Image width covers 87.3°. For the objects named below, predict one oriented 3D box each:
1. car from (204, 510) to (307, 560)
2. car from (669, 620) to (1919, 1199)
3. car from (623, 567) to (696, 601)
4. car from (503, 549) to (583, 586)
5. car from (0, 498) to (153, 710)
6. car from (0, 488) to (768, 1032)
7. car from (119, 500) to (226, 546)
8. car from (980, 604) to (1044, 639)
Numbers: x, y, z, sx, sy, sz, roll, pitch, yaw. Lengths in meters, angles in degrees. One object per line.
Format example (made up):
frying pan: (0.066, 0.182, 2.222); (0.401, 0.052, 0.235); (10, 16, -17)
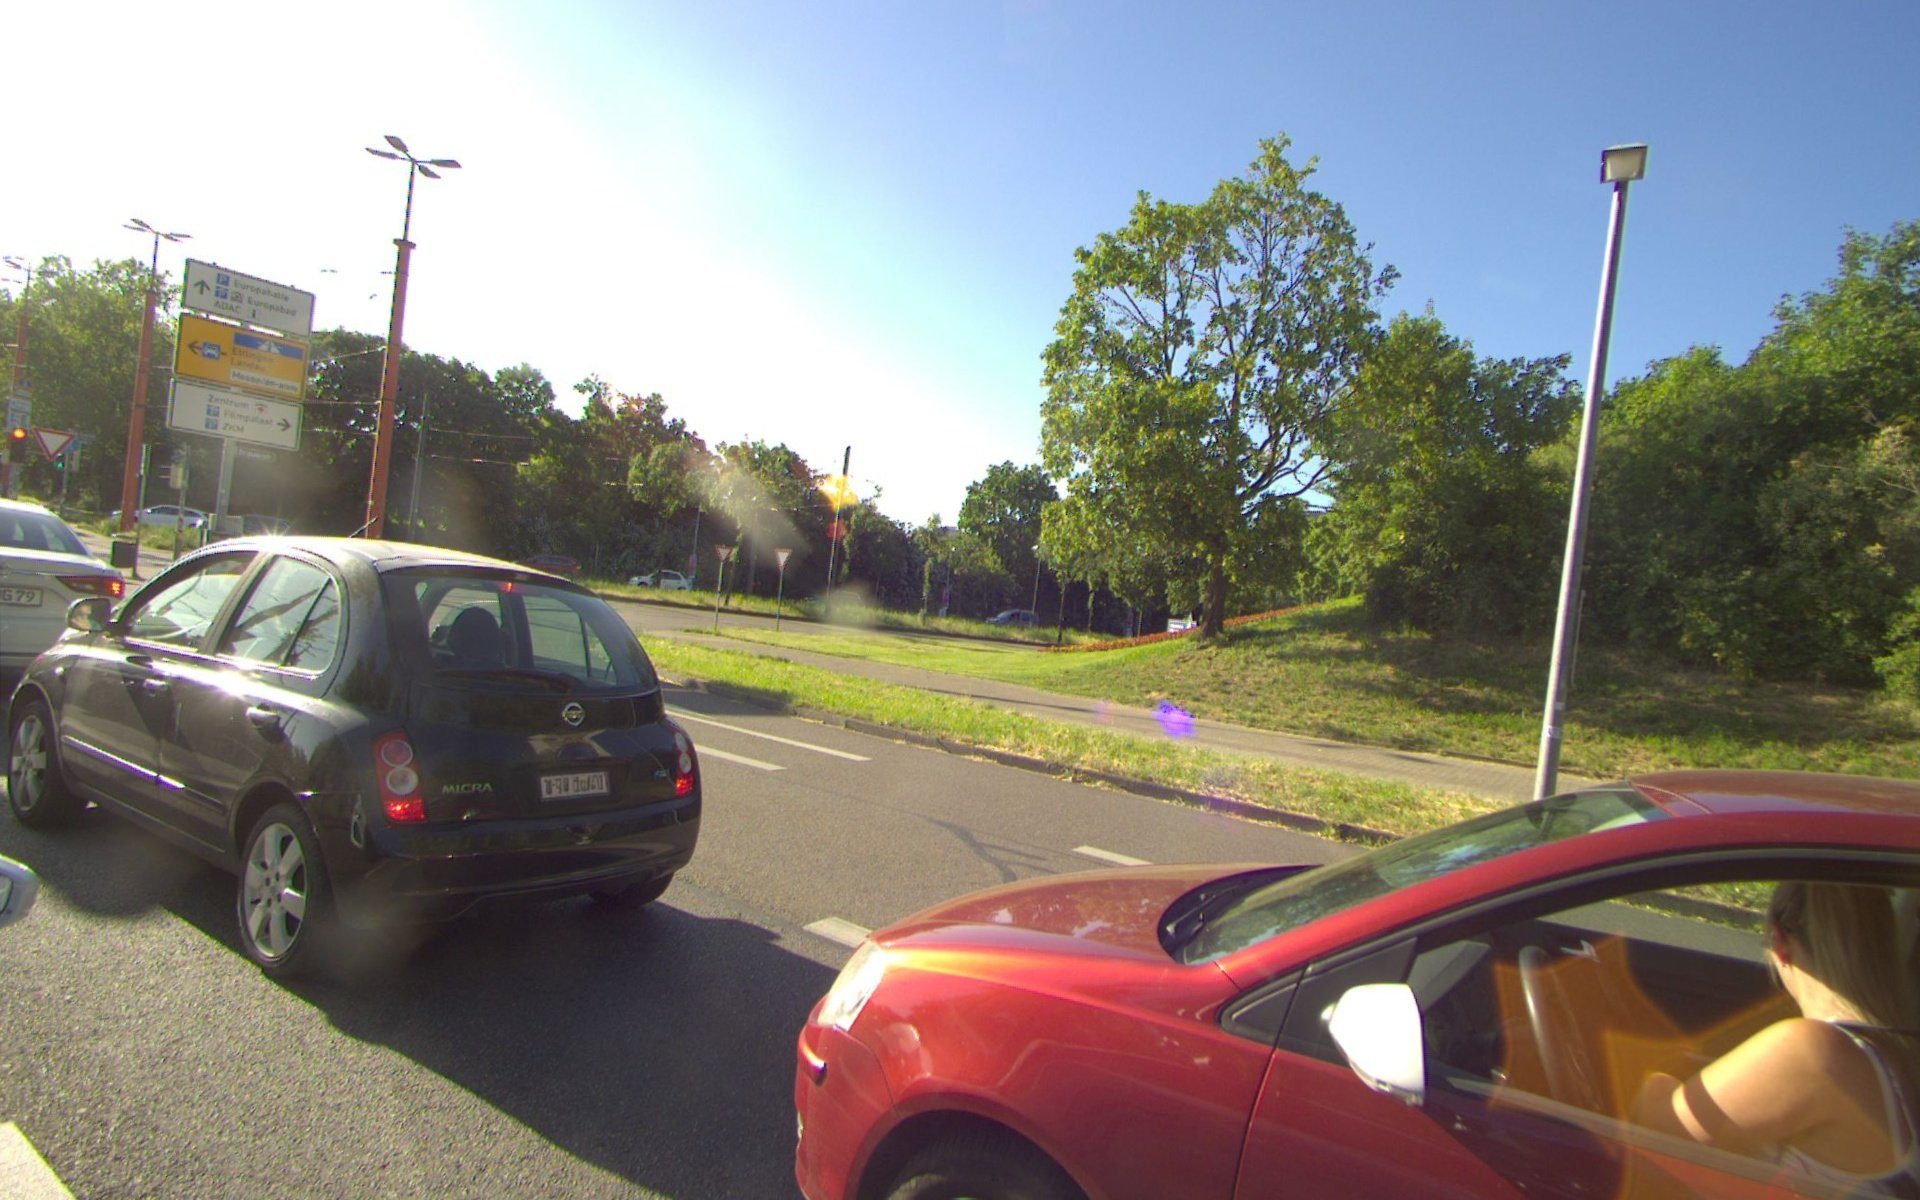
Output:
car: (-36.514, -3.348, 52.249); (4.169, 1.906, 1.750); (8, -1, -35)
car: (1.404, 1.012, 1.880); (3.700, 1.455, 1.644); (6, -2, 33)
car: (-18.635, -0.996, 62.451); (3.970, 1.546, 1.694); (8, -1, -30)
car: (-25.706, -1.998, 62.017); (4.257, 1.725, 1.833); (8, -1, -29)
car: (-8.362, -0.172, 8.022); (4.130, 1.454, 1.723); (7, -1, 33)
car: (-2.867, 0.460, 4.705); (3.555, 1.518, 1.657); (7, -2, 32)
car: (-41.117, -4.008, 52.655); (4.205, 1.701, 1.687); (8, -1, -35)
car: (3.926, 1.620, 75.981); (4.217, 2.038, 1.984); (8, -1, -30)
